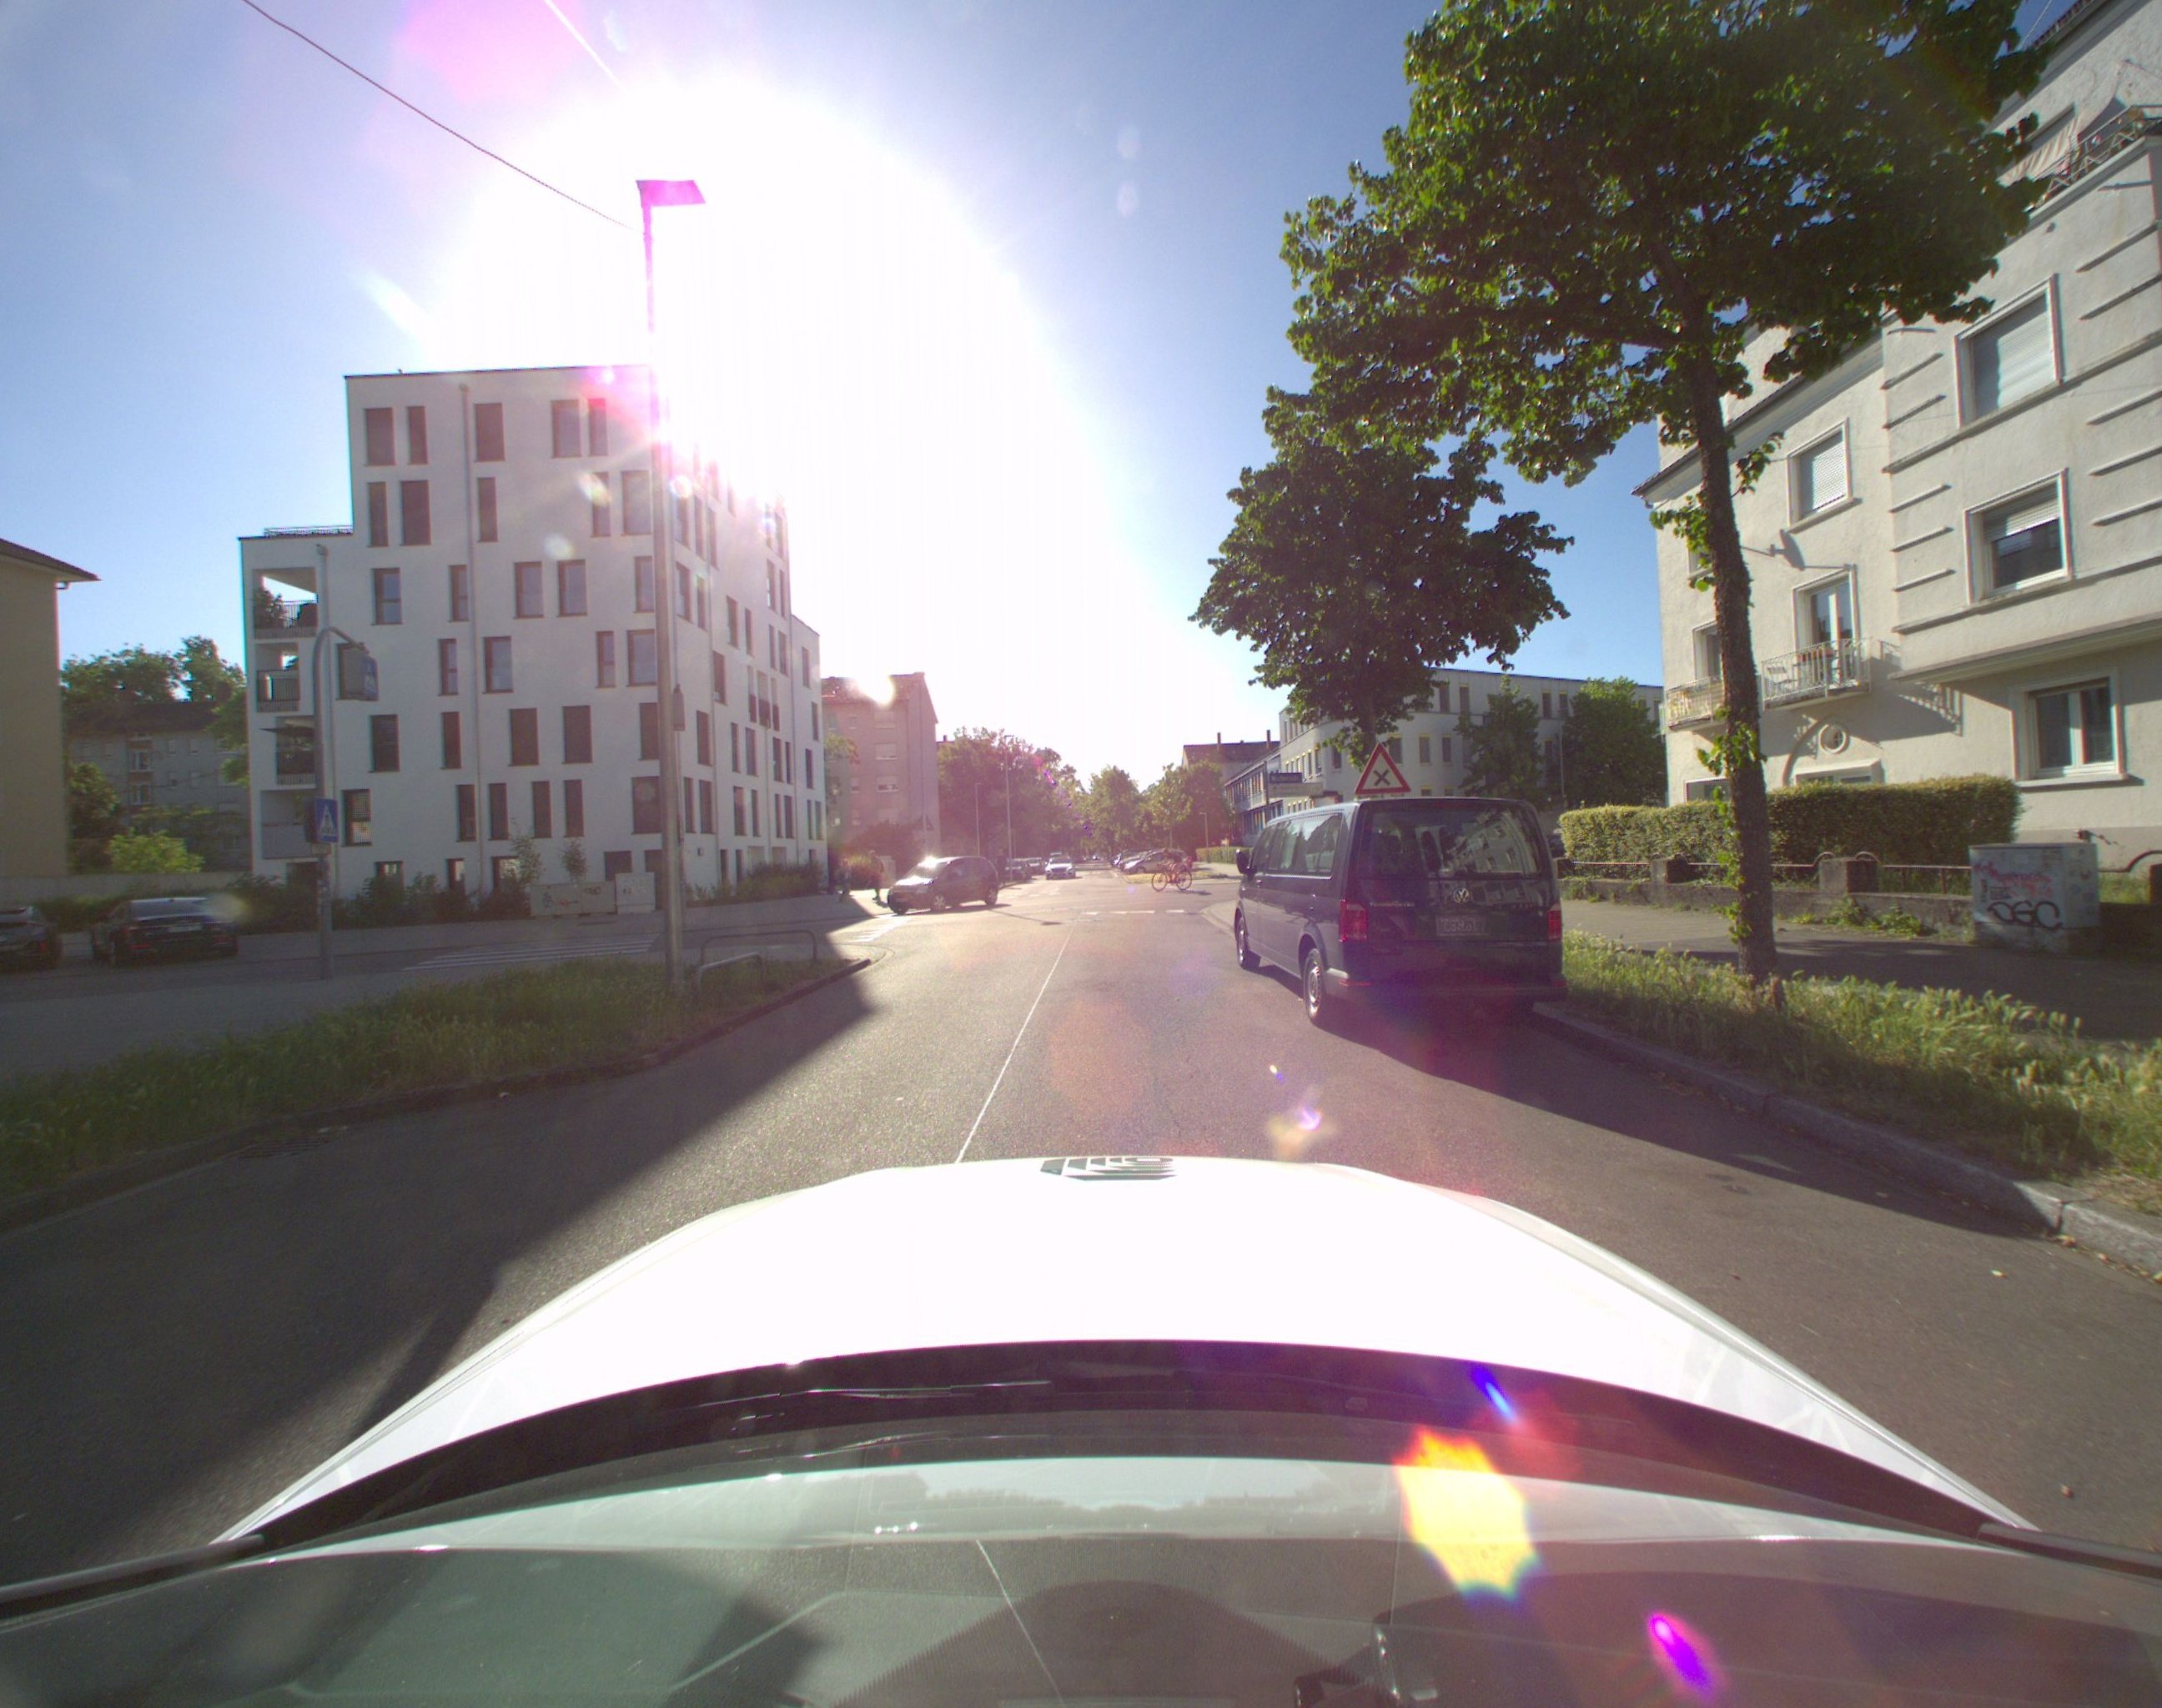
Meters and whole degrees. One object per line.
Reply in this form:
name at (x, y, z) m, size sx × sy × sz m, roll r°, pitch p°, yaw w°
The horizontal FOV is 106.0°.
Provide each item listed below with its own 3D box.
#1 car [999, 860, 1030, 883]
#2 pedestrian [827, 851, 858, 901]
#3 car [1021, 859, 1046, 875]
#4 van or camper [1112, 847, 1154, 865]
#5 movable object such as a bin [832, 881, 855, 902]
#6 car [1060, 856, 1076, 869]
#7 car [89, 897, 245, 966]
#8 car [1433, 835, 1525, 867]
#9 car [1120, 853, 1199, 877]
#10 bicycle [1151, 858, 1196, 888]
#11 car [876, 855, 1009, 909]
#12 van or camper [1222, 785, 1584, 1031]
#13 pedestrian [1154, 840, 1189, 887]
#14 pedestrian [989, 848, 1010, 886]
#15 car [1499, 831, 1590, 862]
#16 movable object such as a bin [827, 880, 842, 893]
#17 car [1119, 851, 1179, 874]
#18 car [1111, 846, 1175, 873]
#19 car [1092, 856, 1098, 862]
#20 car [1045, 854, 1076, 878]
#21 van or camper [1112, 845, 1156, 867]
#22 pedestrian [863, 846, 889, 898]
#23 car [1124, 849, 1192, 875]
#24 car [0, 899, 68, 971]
car at (-4.256, 1.107, 52.574) m, size 1.662 × 1.420 × 3.999 m, roll 0°, pitch -1°, yaw 0°
pedestrian at (-10.319, 0.931, 35.296) m, size 0.766 × 2.120 × 0.964 m, roll -1°, pitch 1°, yaw 45°
car at (-3.925, 1.082, 67.810) m, size 1.623 × 1.234 × 4.194 m, roll 0°, pitch -1°, yaw 2°
van or camper at (5.016, 0.211, 79.393) m, size 3.973 × 1.772 × 2.000 m, roll 0°, pitch -1°, yaw 1°
movable object such as a bin at (-8.617, 1.358, 29.586) m, size 0.269 × 0.680 × 0.854 m, roll -3°, pitch 0°, yaw 24°
car at (-2.048, 1.355, 130.800) m, size 1.982 × 2.014 × 4.010 m, roll 0°, pitch -1°, yaw 9°
car at (-21.361, 1.722, 18.994) m, size 4.505 × 1.167 × 2.013 m, roll -1°, pitch 1°, yaw 37°
car at (19.415, -0.140, 39.685) m, size 4.232 × 1.410 × 1.779 m, roll -2°, pitch 0°, yaw -26°
car at (5.053, 0.709, 52.885) m, size 4.859 × 1.274 × 1.727 m, roll -3°, pitch -1°, yaw -3°
bicycle at (3.288, 0.672, 28.836) m, size 0.543 × 1.012 × 1.931 m, roll -2°, pitch -1°, yaw 43°
car at (-4.152, 0.817, 25.042) m, size 1.720 × 1.530 × 4.139 m, roll -1°, pitch -1°, yaw 31°
van or camper at (2.897, 0.444, 8.870) m, size 1.982 × 1.863 × 5.389 m, roll 0°, pitch -1°, yaw 2°
pedestrian at (3.190, 0.330, 28.792) m, size 1.049 × 1.640 × 0.686 m, roll 1°, pitch -1°, yaw -28°
pedestrian at (-3.838, 0.601, 38.533) m, size 0.868 × 1.714 × 0.978 m, roll -2°, pitch 0°, yaw -2°
car at (23.791, -0.400, 41.783) m, size 4.389 × 1.479 × 1.898 m, roll -1°, pitch 0°, yaw -26°
movable object such as a bin at (-10.865, 1.429, 35.906) m, size 0.269 × 0.541 × 0.690 m, roll -2°, pitch -1°, yaw 22°
car at (4.866, 0.625, 58.909) m, size 4.191 × 1.596 × 1.999 m, roll 0°, pitch -1°, yaw -1°
car at (4.220, 0.381, 56.093) m, size 4.266 × 1.765 × 1.999 m, roll 0°, pitch -1°, yaw -1°
car at (4.352, 1.563, 252.660) m, size 1.986 × 1.747 × 4.001 m, roll -2°, pitch 0°, yaw 1°
car at (-1.344, 0.817, 54.419) m, size 1.879 × 1.504 × 4.638 m, roll 1°, pitch -1°, yaw 1°
van or camper at (4.969, 0.173, 76.681) m, size 3.973 × 2.014 × 2.000 m, roll 0°, pitch -1°, yaw 1°
pedestrian at (-7.627, 0.669, 30.274) m, size 0.843 × 1.885 × 0.789 m, roll 0°, pitch -1°, yaw -9°
car at (4.775, 0.477, 50.853) m, size 4.078 × 1.492 × 1.727 m, roll -1°, pitch -1°, yaw -2°
car at (-24.446, 1.813, 18.246) m, size 4.505 × 1.431 × 2.013 m, roll -3°, pitch 0°, yaw 37°
